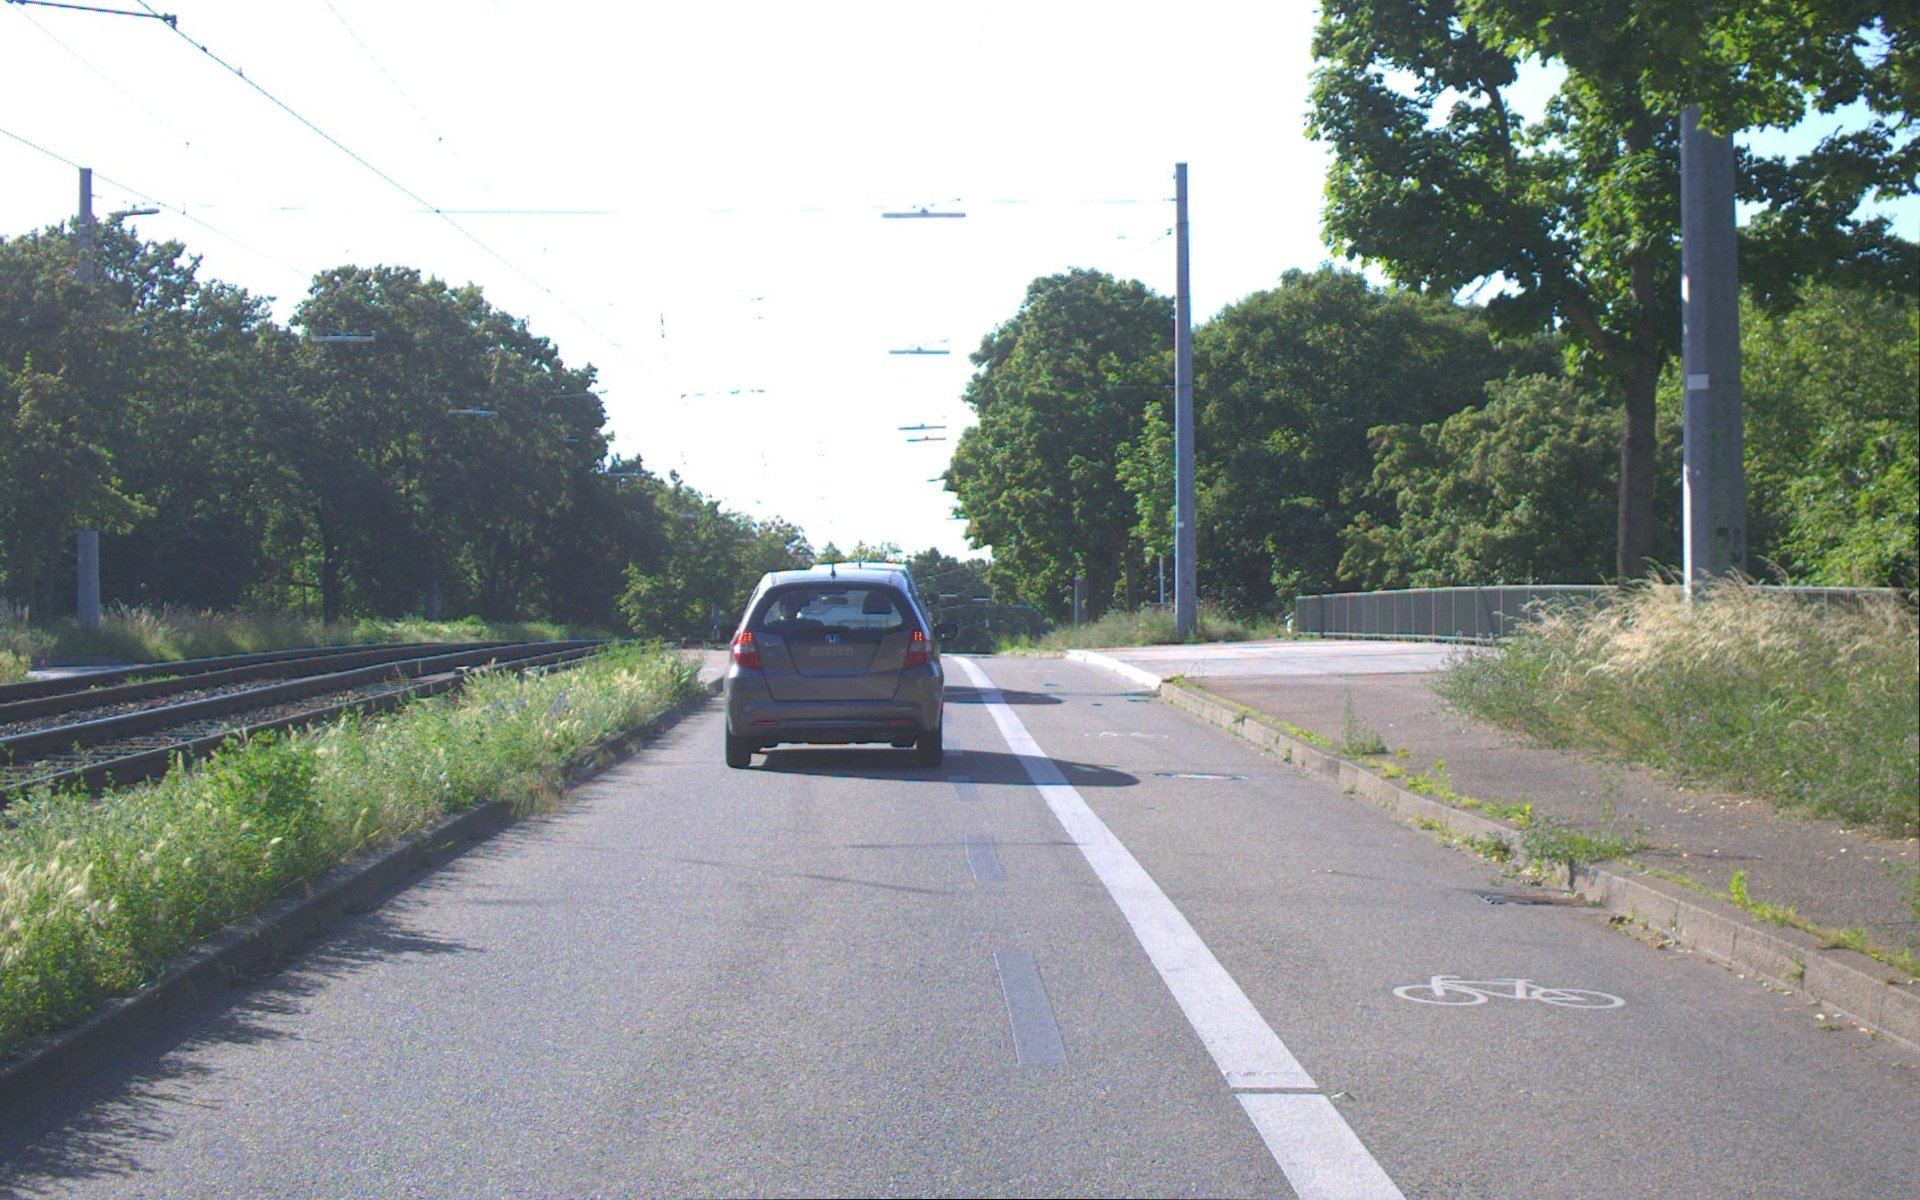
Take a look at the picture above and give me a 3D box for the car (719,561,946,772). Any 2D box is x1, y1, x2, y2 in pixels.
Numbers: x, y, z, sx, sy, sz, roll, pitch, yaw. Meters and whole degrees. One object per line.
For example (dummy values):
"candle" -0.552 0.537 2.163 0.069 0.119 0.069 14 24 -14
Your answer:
"car" -0.990 0.473 27.483 1.670 1.502 3.811 1 1 -1

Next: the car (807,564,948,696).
"car" -0.984 0.335 42.695 1.654 1.502 3.811 1 1 0
